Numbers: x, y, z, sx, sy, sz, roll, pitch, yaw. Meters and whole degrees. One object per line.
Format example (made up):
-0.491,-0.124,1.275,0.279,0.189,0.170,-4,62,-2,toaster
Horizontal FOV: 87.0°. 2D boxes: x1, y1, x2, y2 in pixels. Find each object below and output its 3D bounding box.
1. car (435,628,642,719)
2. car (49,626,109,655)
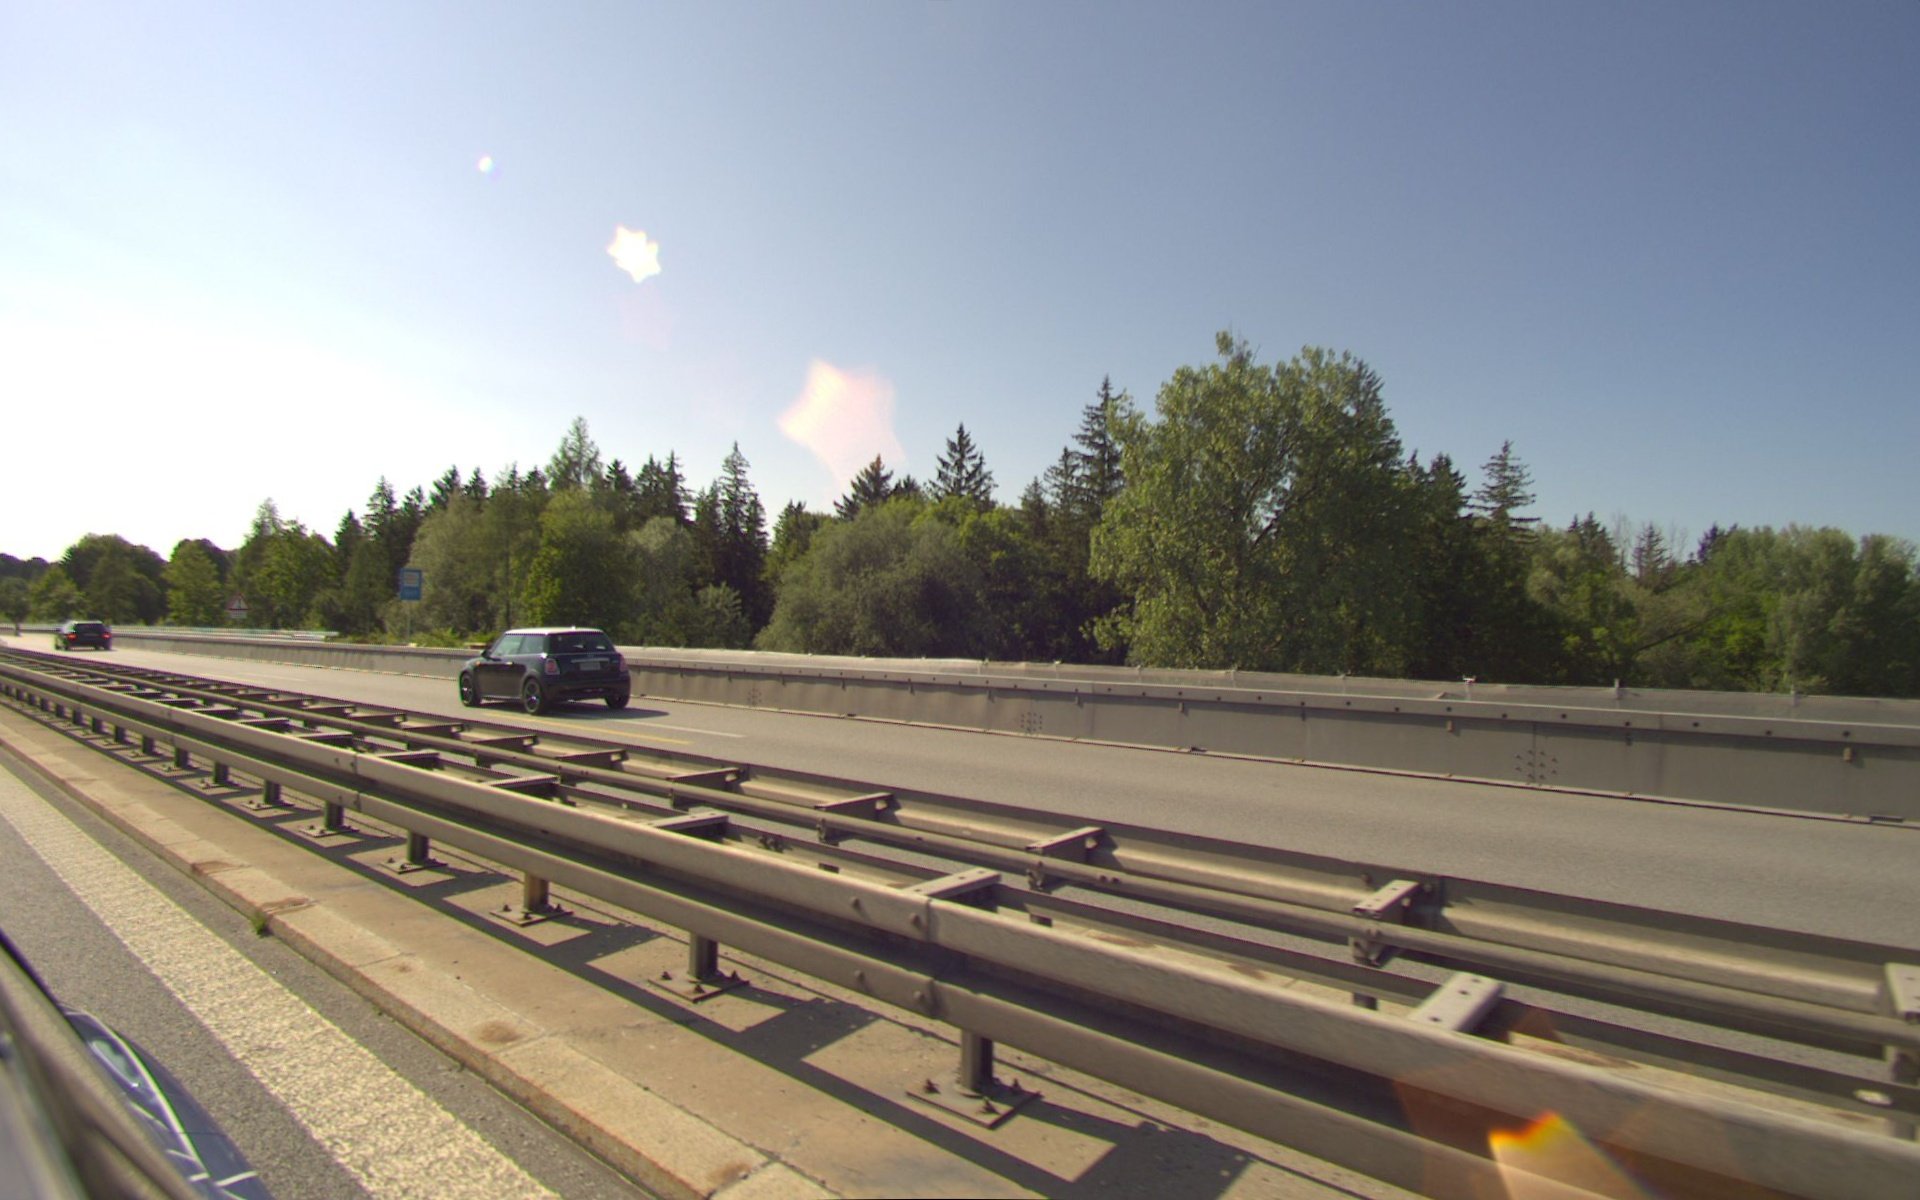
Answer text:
-7.490,1.199,17.809,4.190,1.404,1.665,-1,-2,41,car
-43.022,1.943,49.361,4.807,1.387,1.628,-1,-2,42,car
